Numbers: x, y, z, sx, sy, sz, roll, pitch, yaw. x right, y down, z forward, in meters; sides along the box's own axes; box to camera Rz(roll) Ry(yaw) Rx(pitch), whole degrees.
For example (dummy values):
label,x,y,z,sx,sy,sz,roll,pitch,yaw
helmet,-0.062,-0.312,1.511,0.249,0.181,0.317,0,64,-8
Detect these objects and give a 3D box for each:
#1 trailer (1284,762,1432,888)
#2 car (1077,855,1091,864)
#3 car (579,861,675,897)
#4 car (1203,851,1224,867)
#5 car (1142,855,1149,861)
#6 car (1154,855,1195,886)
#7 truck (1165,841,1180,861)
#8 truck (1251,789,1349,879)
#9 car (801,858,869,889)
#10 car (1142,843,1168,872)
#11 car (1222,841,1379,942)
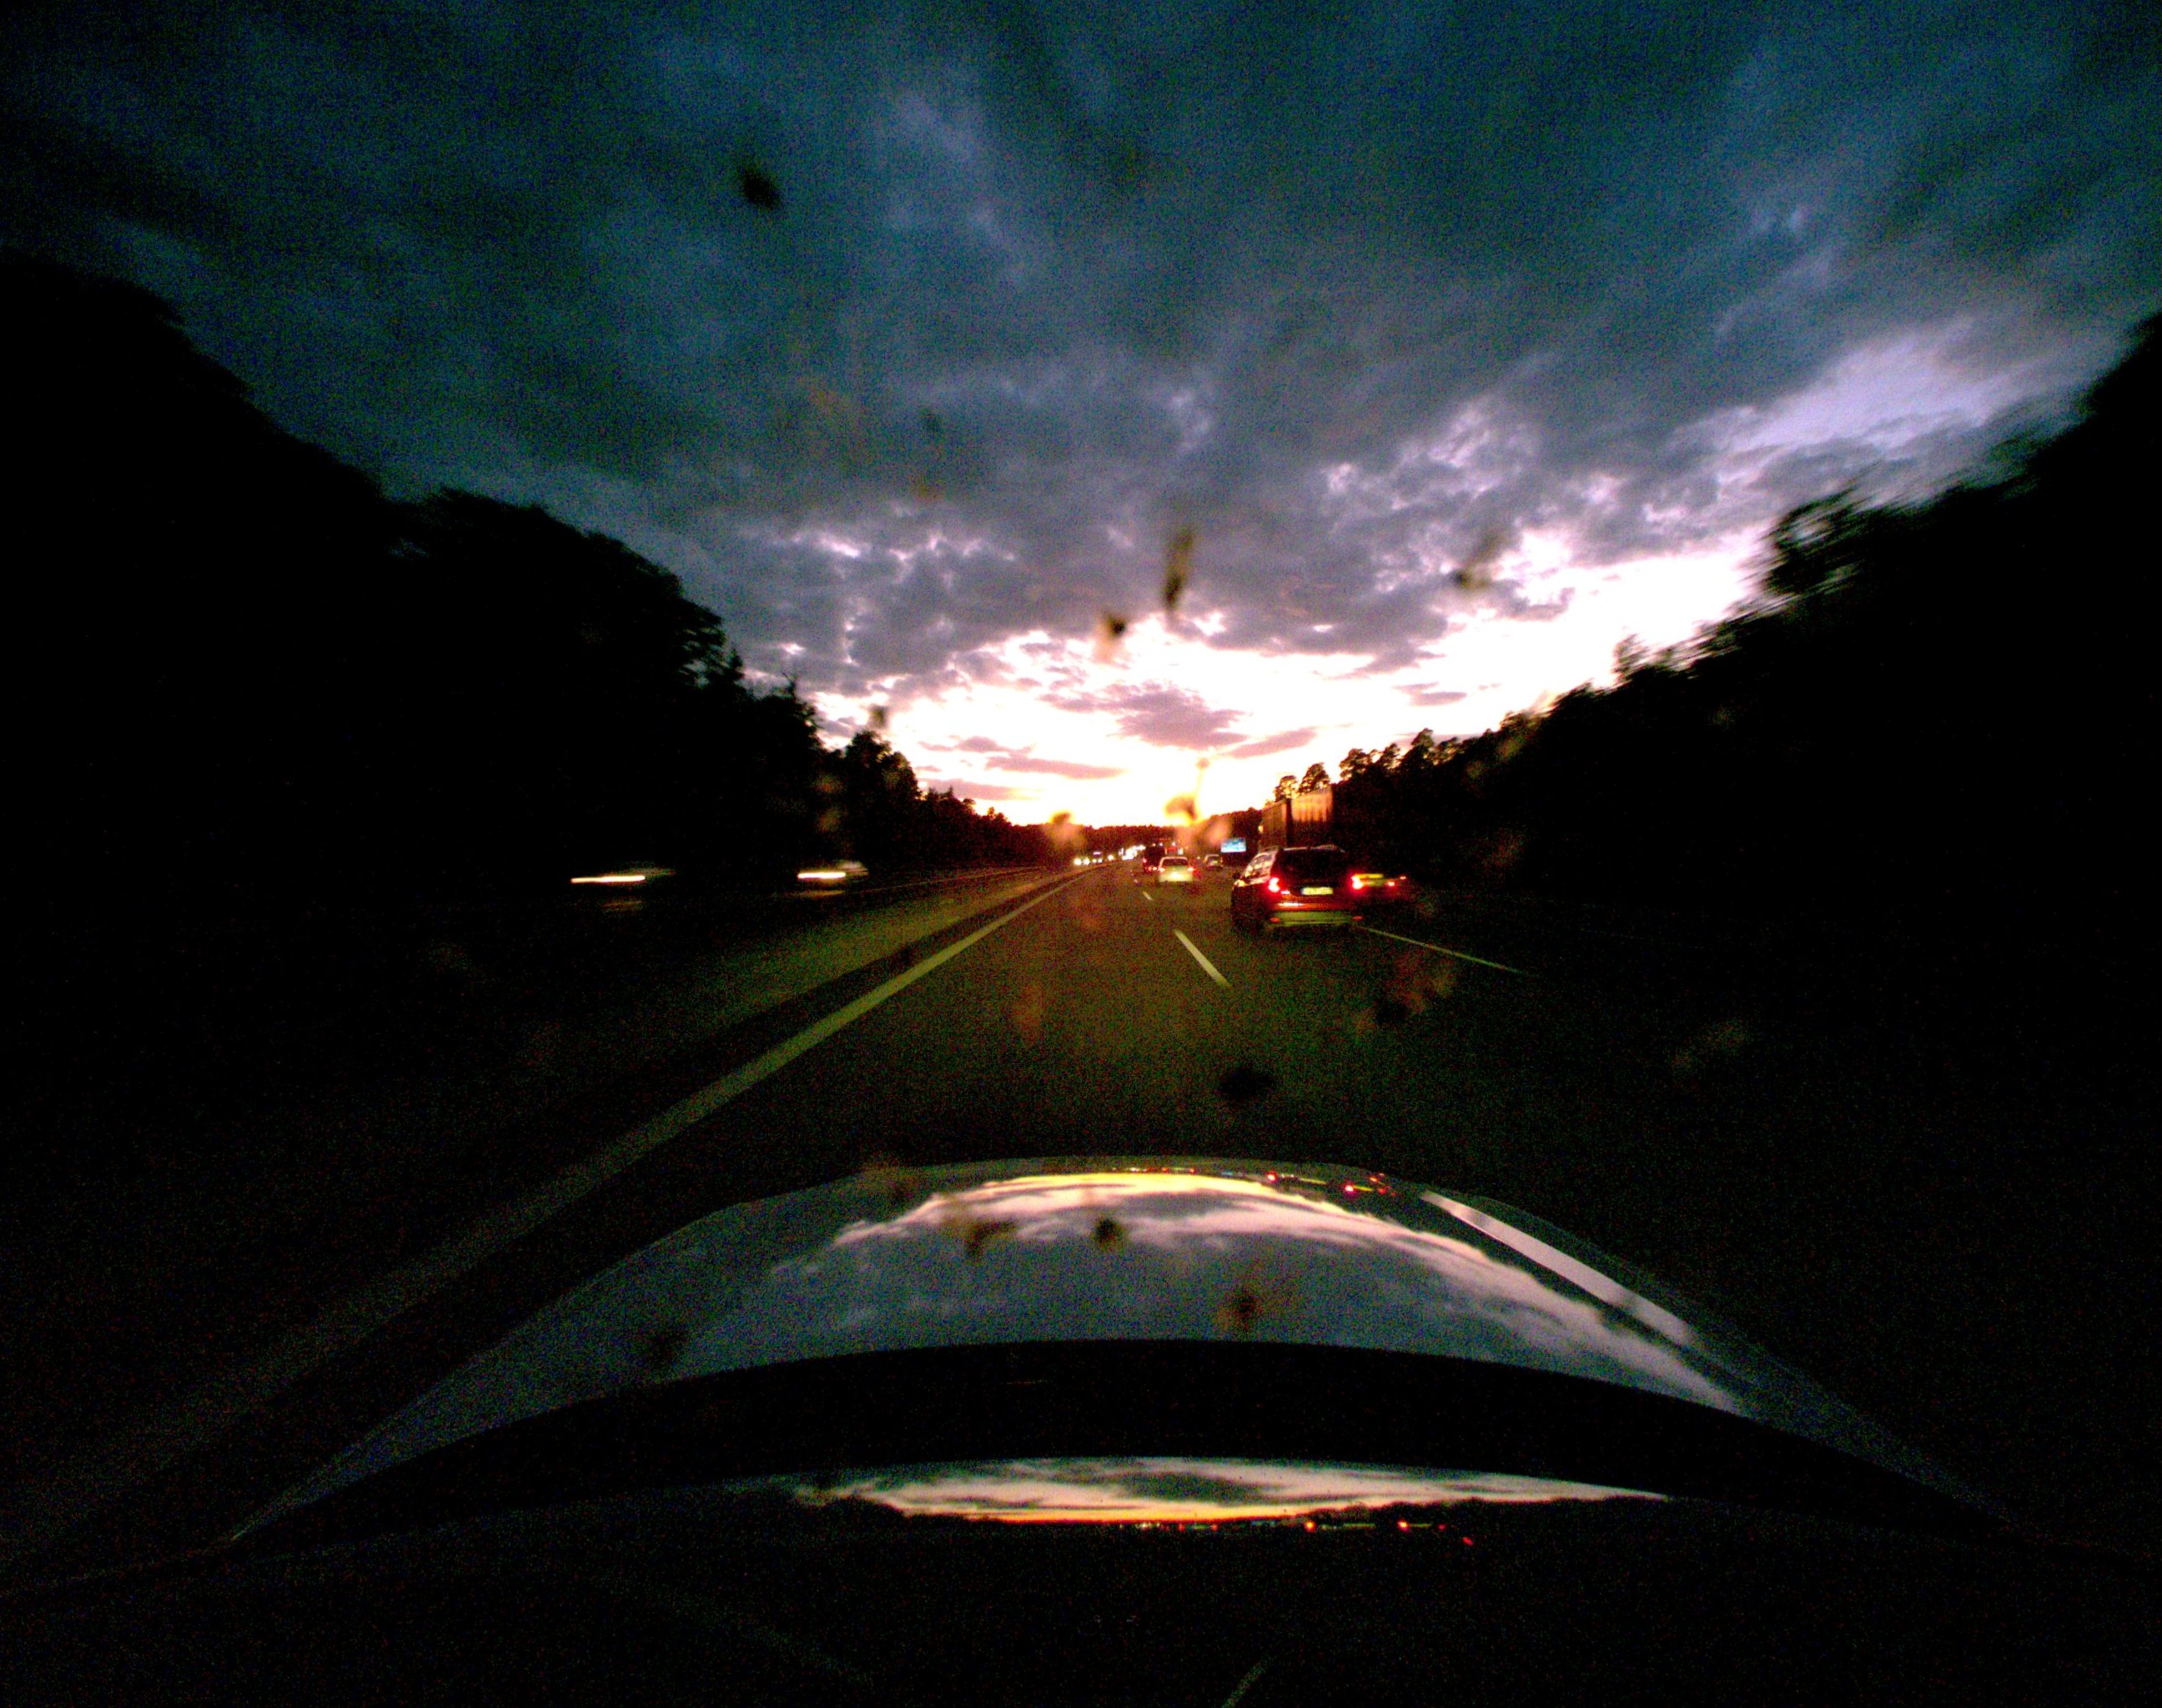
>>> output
label,x,y,z,sx,sy,sz,roll,pitch,yaw
trailer,10.455,-0.935,32.134,2.894,4.100,10.368,-1,0,4
car,0.620,1.002,145.695,1.983,1.638,5.119,-1,0,6
car,-20.362,1.064,36.715,1.833,1.463,4.006,0,1,5
car,13.641,0.526,84.130,1.997,1.538,4.008,-2,-1,7
car,17.913,1.207,225.555,1.827,1.570,4.008,-2,-1,7
car,4.580,0.798,40.144,1.850,1.442,3.726,-1,-1,5
truck,27.284,-0.877,244.140,4.129,5.856,14.318,-2,-1,6
truck,11.171,-0.880,42.741,2.872,4.100,10.843,-1,0,4
car,-12.907,0.994,43.111,1.834,1.463,4.781,0,1,4
car,6.730,0.303,73.529,2.154,2.419,5.575,-2,-1,7
car,4.120,0.608,16.170,1.895,1.643,5.055,-2,0,2
